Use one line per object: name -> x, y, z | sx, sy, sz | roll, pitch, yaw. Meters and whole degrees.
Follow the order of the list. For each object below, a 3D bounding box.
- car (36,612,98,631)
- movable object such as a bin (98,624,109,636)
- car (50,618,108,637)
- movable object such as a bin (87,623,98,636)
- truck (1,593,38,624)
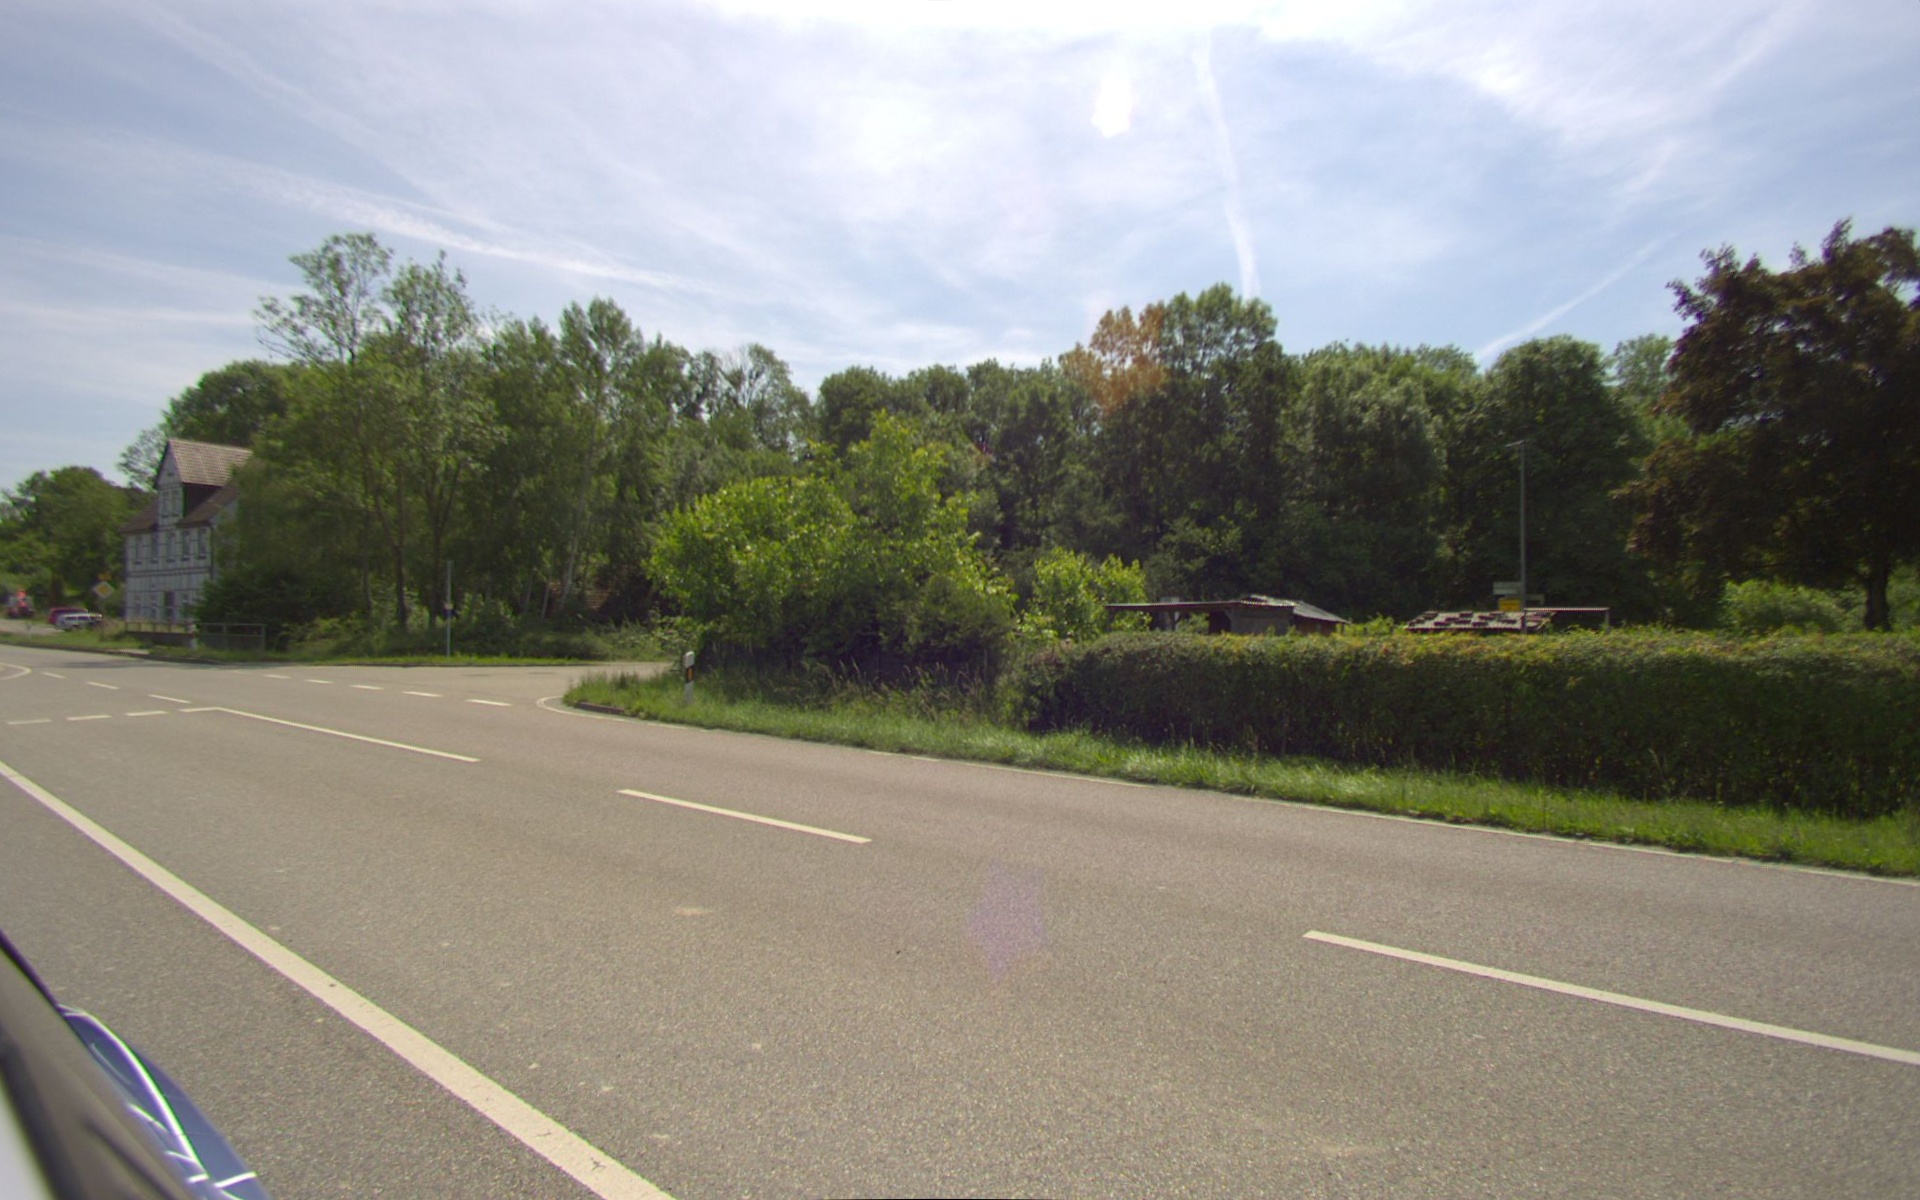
car -> -79.990, 1.922, 90.690 | 1.832, 1.631, 3.986 | 1, 0, 40
movable object such as a bin -> -70.019, 2.441, 82.736 | 0.652, 0.983, 0.499 | 1, 1, 32
car -> -72.772, 2.233, 83.652 | 1.606, 1.476, 3.350 | 0, 0, 33
movable object such as a bin -> -70.482, 2.390, 82.222 | 0.652, 0.978, 0.499 | 1, 1, 32
truck -> -96.306, 0.835, 103.587 | 6.769, 2.986, 2.006 | 1, 1, 40
